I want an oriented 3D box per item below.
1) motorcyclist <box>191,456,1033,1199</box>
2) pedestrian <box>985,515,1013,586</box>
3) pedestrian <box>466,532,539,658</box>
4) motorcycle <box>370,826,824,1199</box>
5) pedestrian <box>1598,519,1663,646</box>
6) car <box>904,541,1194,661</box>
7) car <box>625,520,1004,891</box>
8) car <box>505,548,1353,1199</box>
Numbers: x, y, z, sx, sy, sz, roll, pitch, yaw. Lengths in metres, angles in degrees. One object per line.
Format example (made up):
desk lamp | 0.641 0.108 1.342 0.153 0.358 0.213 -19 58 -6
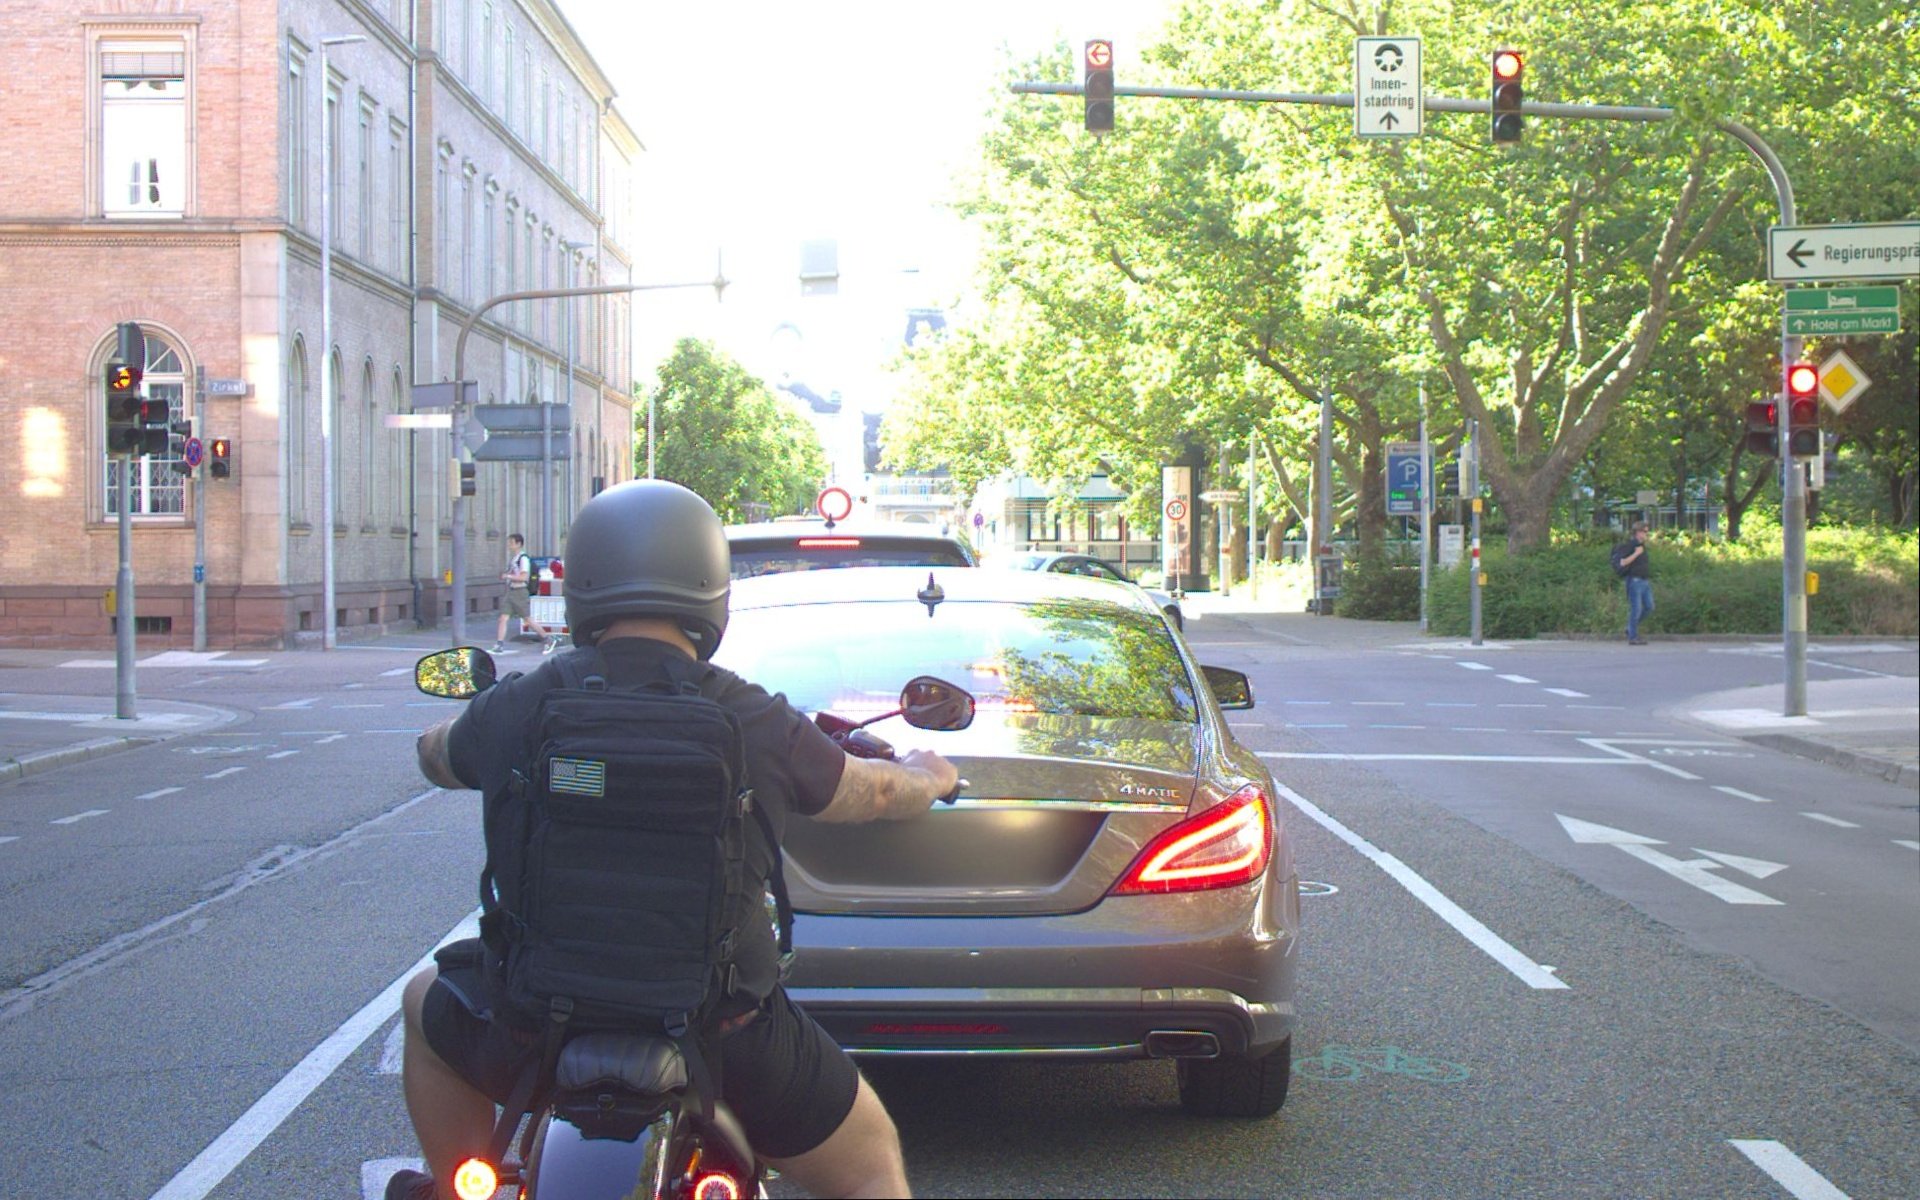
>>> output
motorcyclist | -0.492 0.599 5.399 1.149 1.593 1.288 1 0 -1
pedestrian | 1.138 -1.448 100.886 0.764 2.044 0.712 1 0 -1
pedestrian | -6.718 -0.074 50.488 1.001 1.820 1.076 1 0 -6
motorcycle | -0.504 0.931 5.357 0.513 0.999 2.013 1 1 -1
pedestrian | 10.158 -0.268 52.085 0.923 1.903 0.752 1 0 10
car | 1.278 0.010 47.613 1.856 1.569 4.126 1 1 39
car | -0.645 0.416 16.739 1.621 1.588 4.000 0 1 -1
car | -0.091 0.600 9.624 1.882 1.444 3.820 1 1 -1
